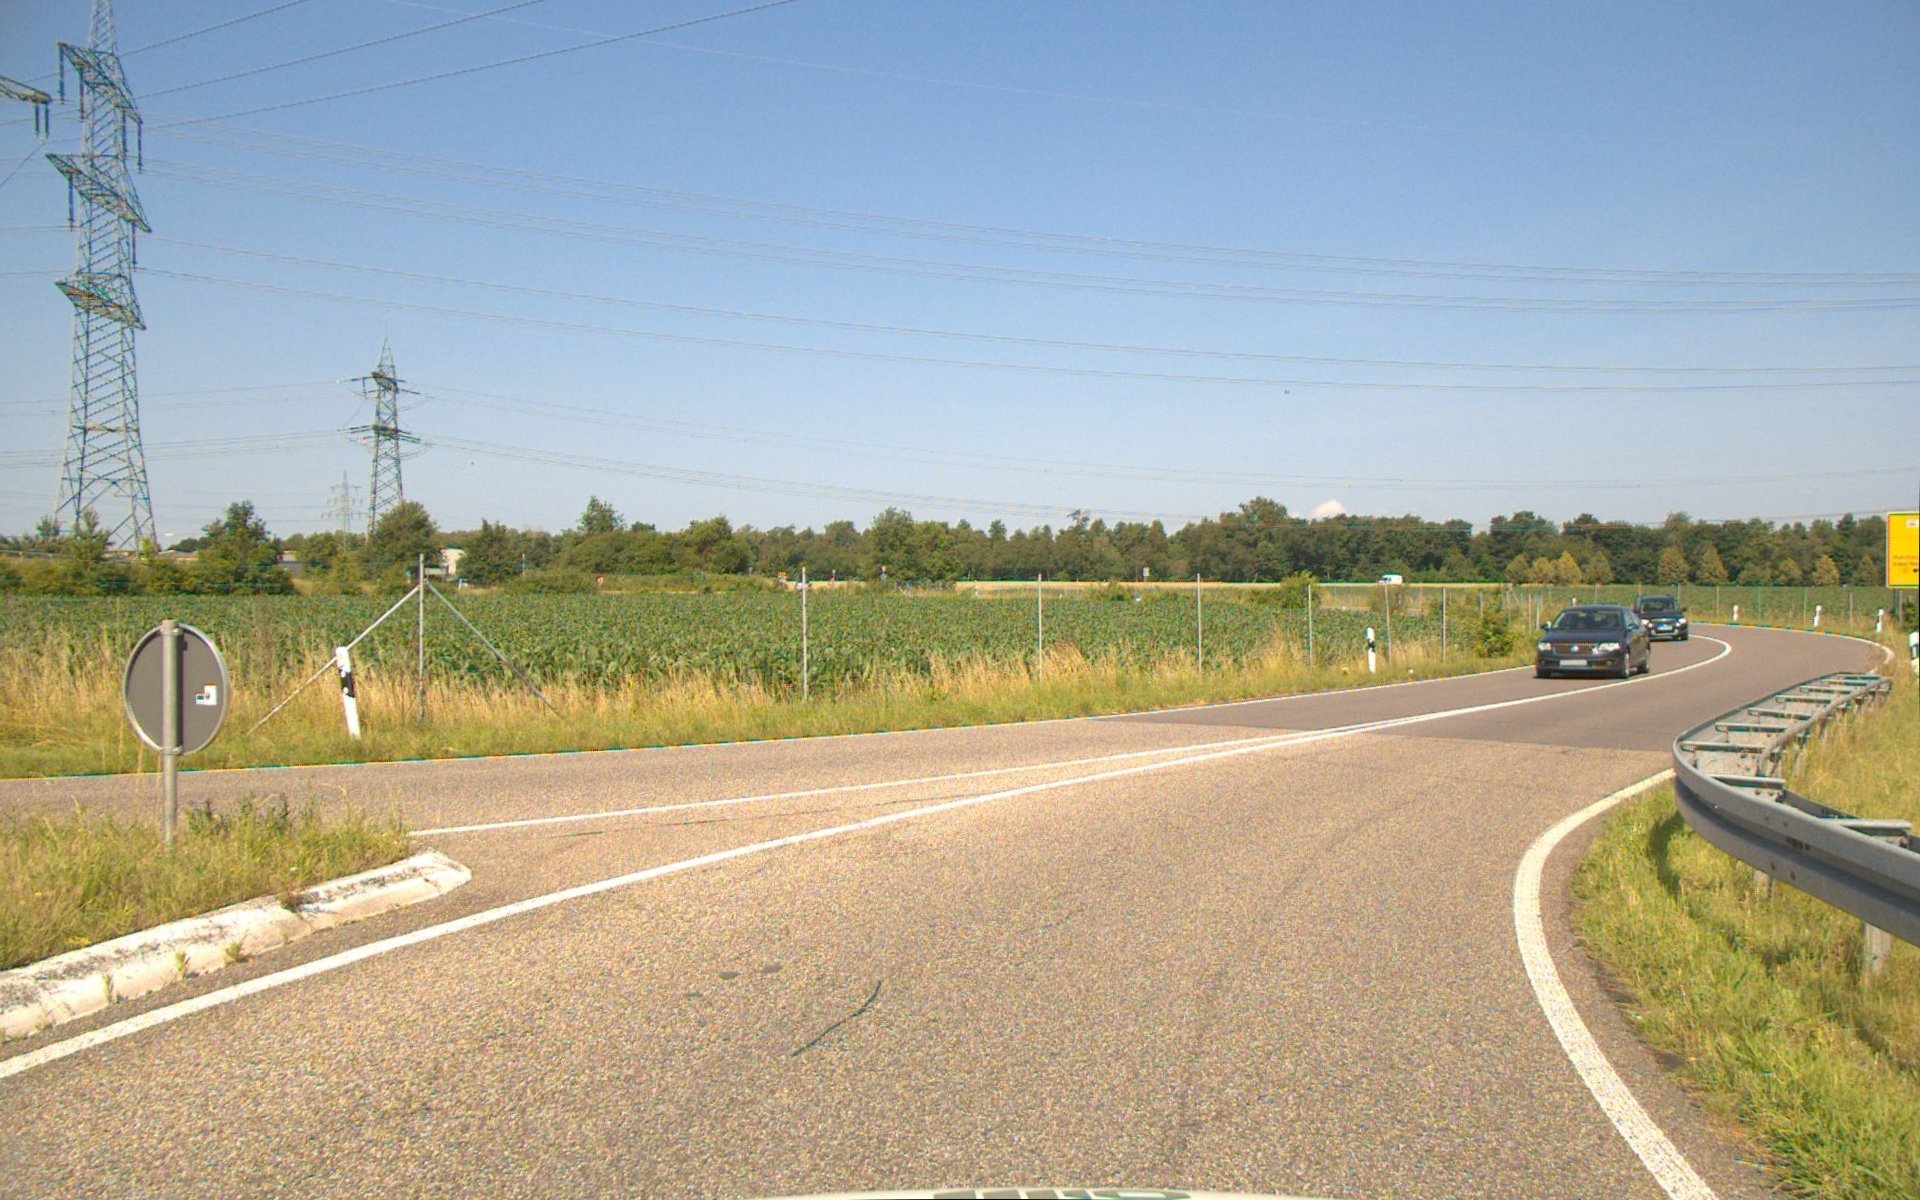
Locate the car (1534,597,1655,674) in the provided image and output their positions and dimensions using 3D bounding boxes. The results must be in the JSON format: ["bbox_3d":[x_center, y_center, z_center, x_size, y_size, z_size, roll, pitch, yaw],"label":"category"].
[{"bbox_3d":[13.366,0.707,34.700,1.741,1.482,4.585,-1,0,29],"label":"car"}]

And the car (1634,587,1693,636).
[{"bbox_3d":[26.618,0.408,62.613,1.943,1.736,4.260,1,1,23],"label":"car"}]
